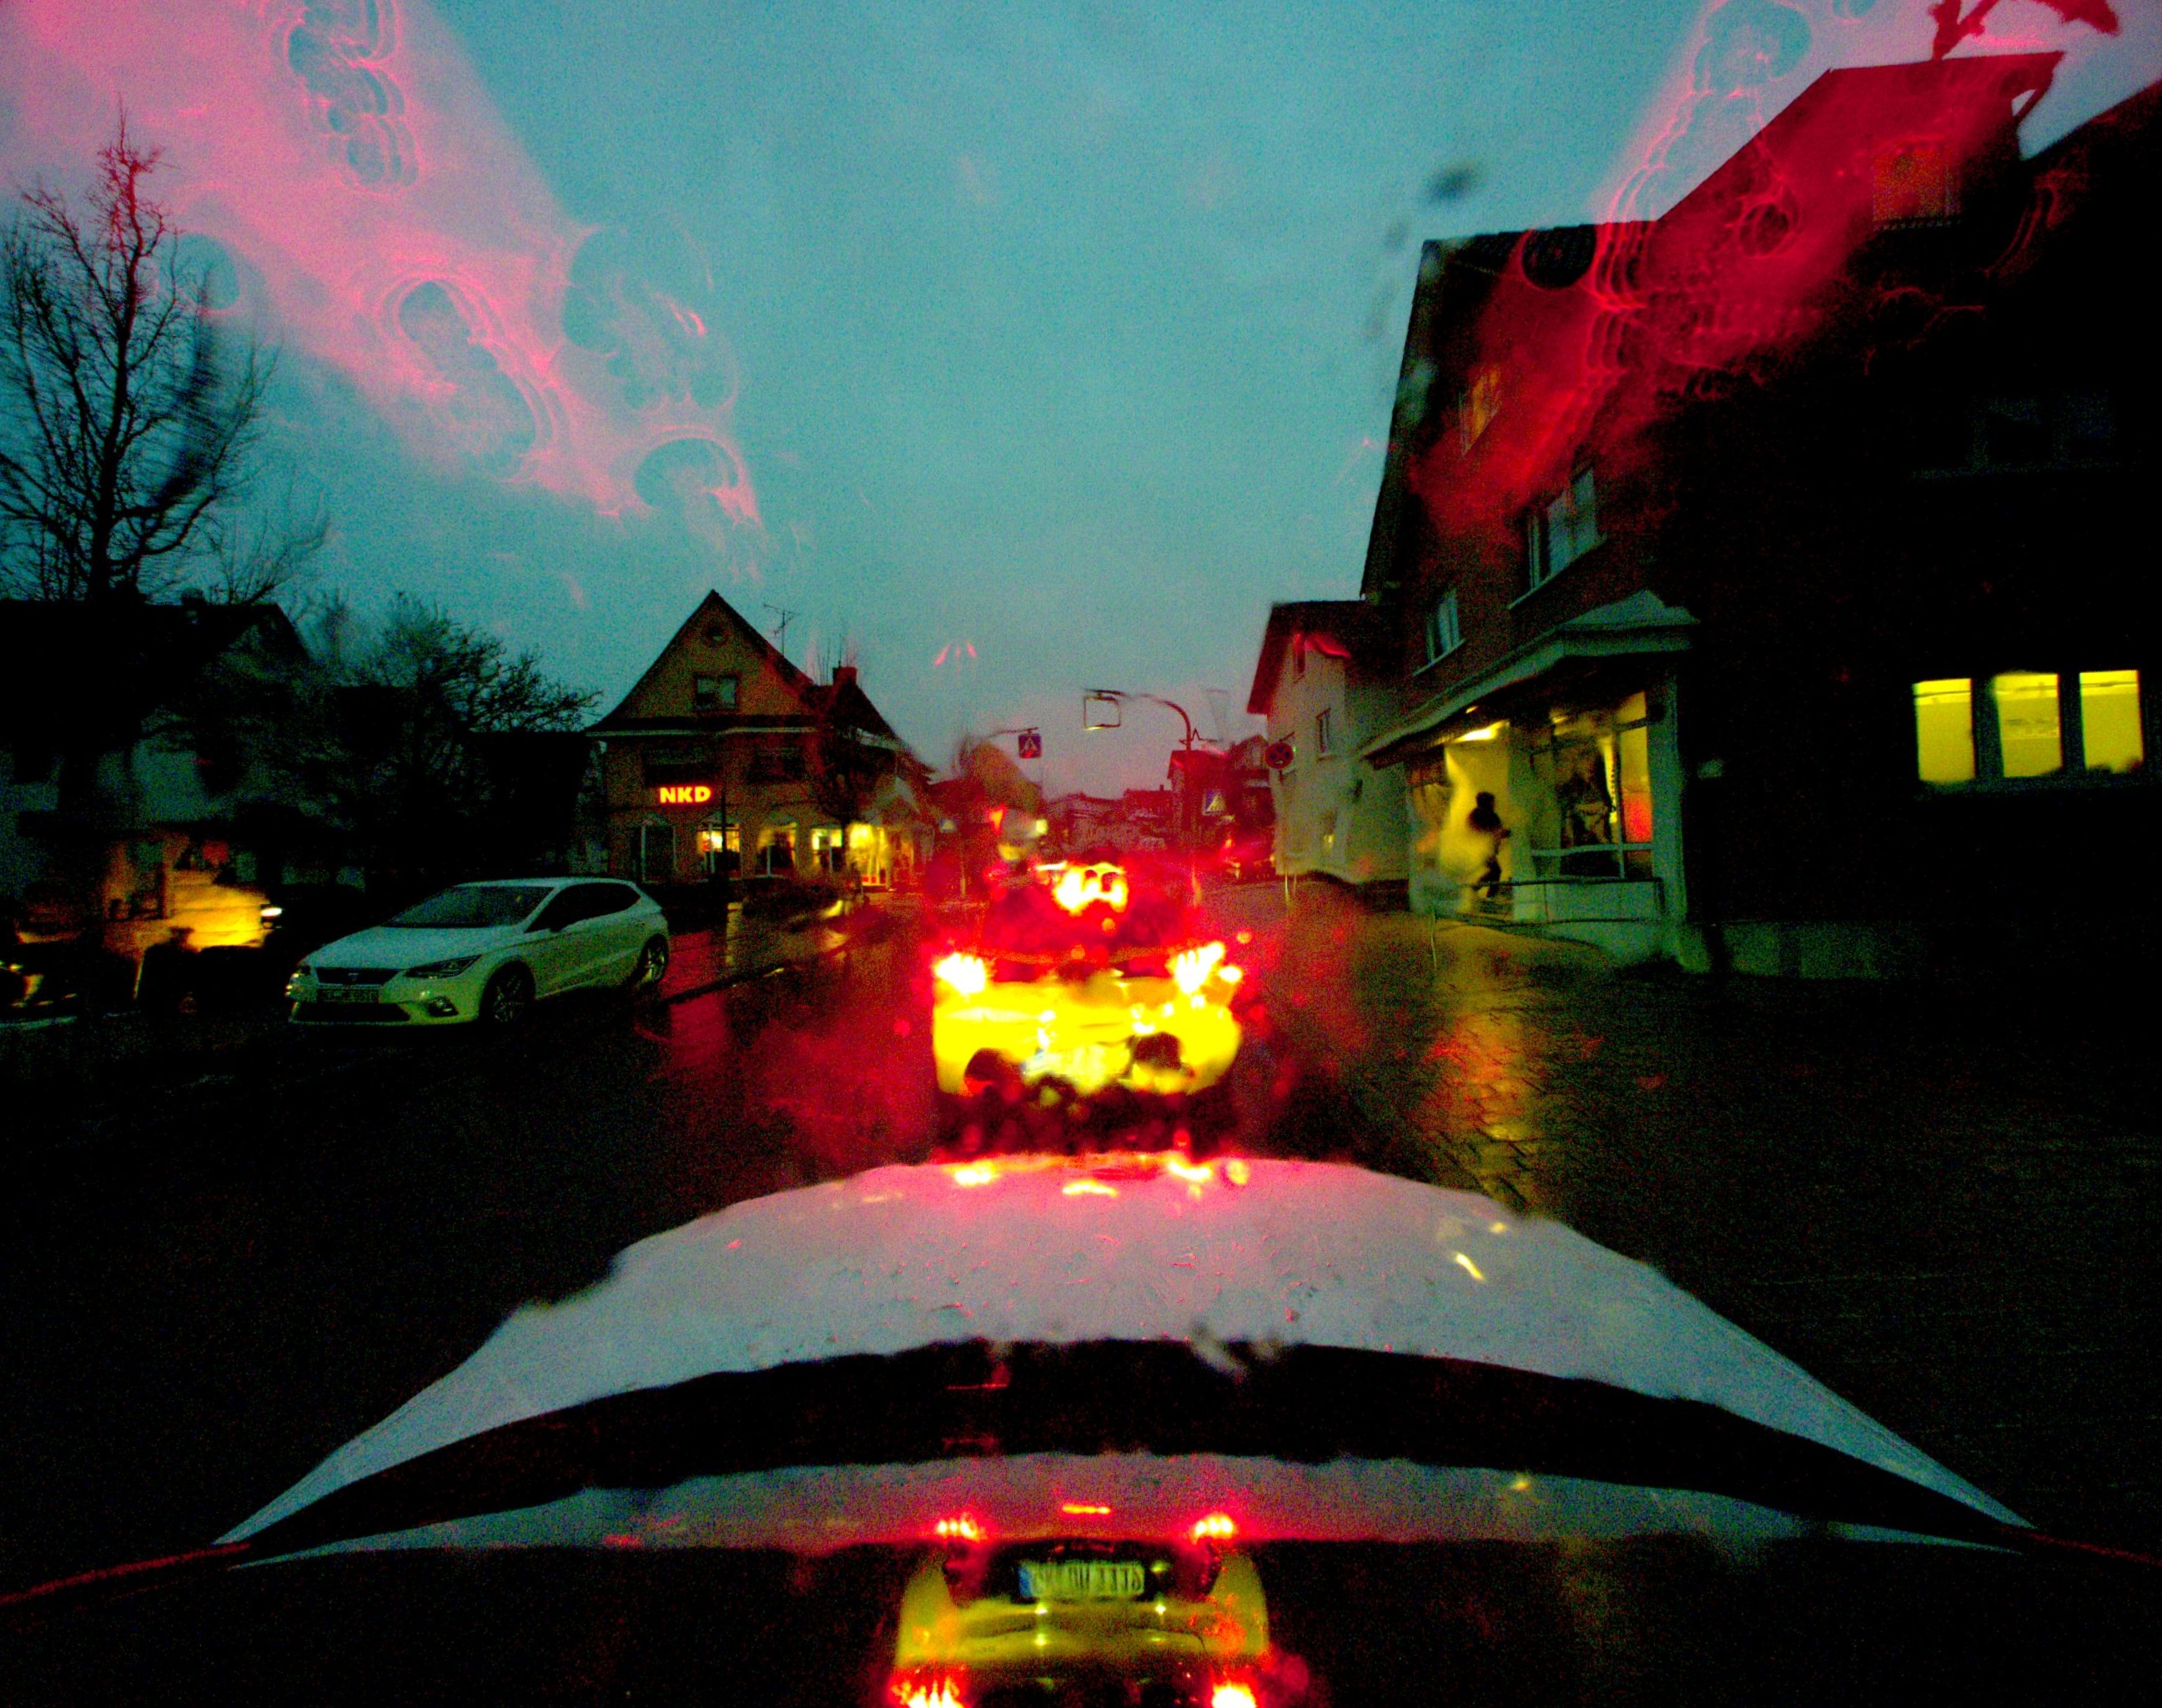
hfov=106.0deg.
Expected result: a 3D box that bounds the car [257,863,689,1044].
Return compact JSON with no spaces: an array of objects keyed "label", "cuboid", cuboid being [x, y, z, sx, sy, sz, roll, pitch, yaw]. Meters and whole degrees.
[{"label":"car","cuboid":[-6.212,0.882,9.026,1.663,1.516,4.002,0,0,2]}]

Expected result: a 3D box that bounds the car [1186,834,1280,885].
[{"label":"car","cuboid":[6.194,0.226,33.494,3.679,2.014,1.691,-1,-1,5]}]

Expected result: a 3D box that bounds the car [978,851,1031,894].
[{"label":"car","cuboid":[-3.833,0.888,41.420,1.985,2.014,4.366,-1,0,4]}]

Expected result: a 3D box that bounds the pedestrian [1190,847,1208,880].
[{"label":"pedestrian","cuboid":[7.377,0.569,50.956,1.011,2.014,1.277,-1,-1,7]}]

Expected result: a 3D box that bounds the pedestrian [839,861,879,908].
[{"label":"pedestrian","cuboid":[-7.068,0.969,25.996,0.886,1.417,0.777,5,-1,6]}]

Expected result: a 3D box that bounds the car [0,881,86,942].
[{"label":"car","cuboid":[-29.388,1.542,21.417,3.894,1.519,1.608,-1,0,-12]}]

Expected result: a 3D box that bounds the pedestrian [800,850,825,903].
[{"label":"pedestrian","cuboid":[-8.997,0.744,27.266,0.586,1.742,0.684,-1,-1,-2]}]

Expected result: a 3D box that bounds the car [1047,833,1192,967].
[{"label":"car","cuboid":[0.593,0.603,12.211,1.790,1.662,4.003,-1,-1,3]}]

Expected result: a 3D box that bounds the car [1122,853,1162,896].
[{"label":"car","cuboid":[3.126,1.018,42.095,1.637,2.013,3.999,-3,0,-1]}]

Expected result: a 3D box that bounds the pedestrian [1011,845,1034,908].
[{"label":"pedestrian","cuboid":[-1.752,0.654,24.488,0.701,1.876,0.616,0,0,-4]}]

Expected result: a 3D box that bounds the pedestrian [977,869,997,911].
[{"label":"pedestrian","cuboid":[-2.828,1.085,24.473,0.551,1.233,0.433,-1,-1,-2]}]

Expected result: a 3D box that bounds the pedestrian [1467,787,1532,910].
[{"label":"pedestrian","cuboid":[6.594,-0.078,12.878,0.659,1.888,0.826,-1,-1,8]}]

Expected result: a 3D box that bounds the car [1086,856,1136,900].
[{"label":"car","cuboid":[1.287,0.900,32.828,1.819,1.601,4.586,-1,0,4]}]

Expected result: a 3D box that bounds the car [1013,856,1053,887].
[{"label":"car","cuboid":[-2.774,1.004,48.405,1.986,1.752,4.362,-1,0,1]}]

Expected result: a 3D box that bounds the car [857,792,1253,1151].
[{"label":"car","cuboid":[0.045,0.592,6.482,1.984,1.795,4.654,-2,0,5]}]

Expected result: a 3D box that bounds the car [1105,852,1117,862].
[{"label":"car","cuboid":[4.319,0.473,117.775,1.528,1.245,3.650,-6,1,3]}]

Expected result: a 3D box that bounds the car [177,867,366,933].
[{"label":"car","cuboid":[-23.479,1.272,23.874,1.848,1.720,3.989,-1,-1,-8]}]

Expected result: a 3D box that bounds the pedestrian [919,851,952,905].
[{"label":"pedestrian","cuboid":[-4.734,0.762,26.548,0.972,1.742,0.960,0,0,-5]}]
